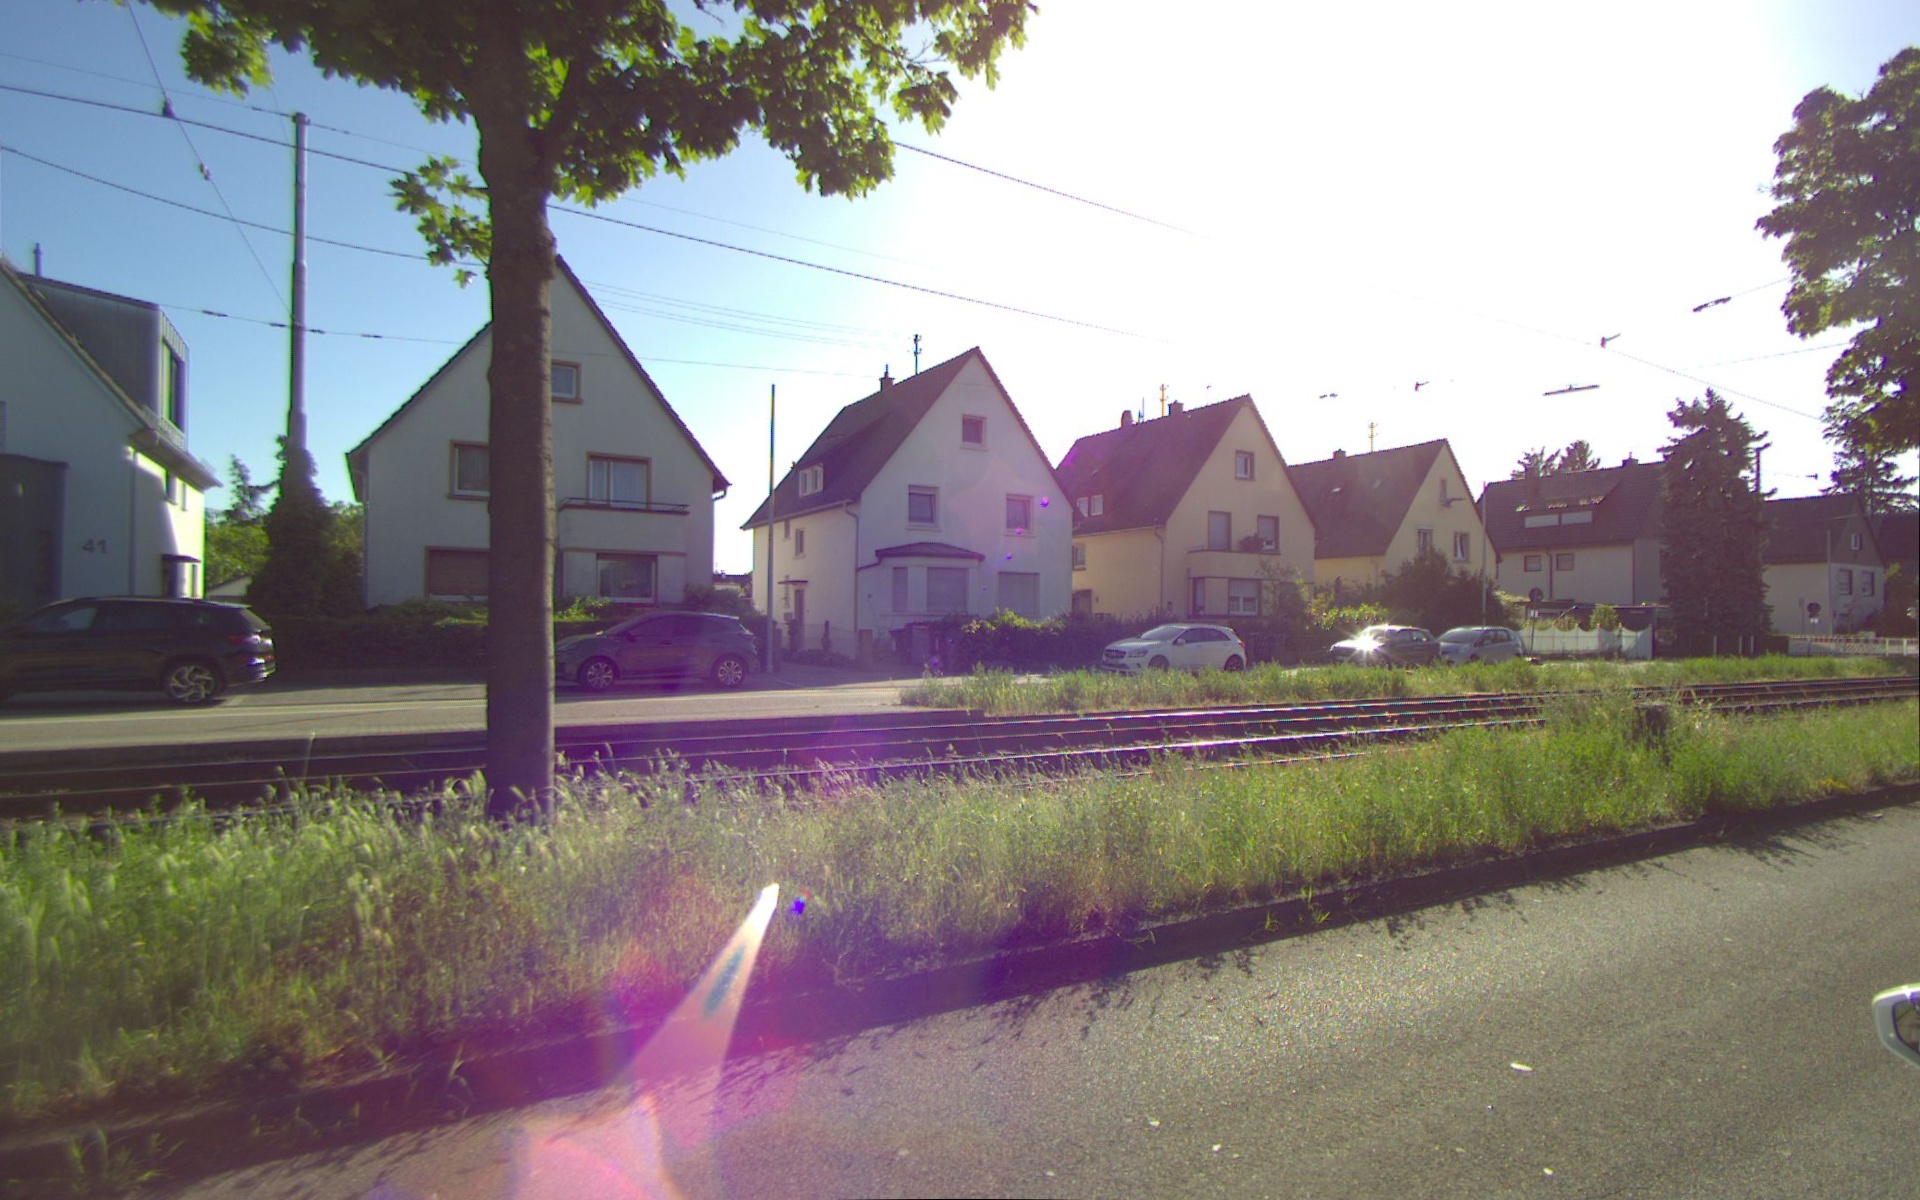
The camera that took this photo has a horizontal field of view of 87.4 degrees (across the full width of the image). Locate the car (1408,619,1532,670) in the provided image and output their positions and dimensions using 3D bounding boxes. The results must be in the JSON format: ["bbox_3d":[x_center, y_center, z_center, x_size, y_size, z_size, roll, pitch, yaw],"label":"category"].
[{"bbox_3d":[17.480,1.505,34.371,4.010,1.574,1.937,2,0,-31],"label":"car"}]

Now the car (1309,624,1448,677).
[{"bbox_3d":[13.283,1.577,31.842,4.080,1.469,1.983,2,2,-31],"label":"car"}]

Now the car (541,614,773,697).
[{"bbox_3d":[-6.184,1.094,20.600,4.207,1.515,1.916,2,0,-31],"label":"car"}]

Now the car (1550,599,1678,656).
[{"bbox_3d":[32.481,1.341,50.055,2.077,2.660,5.005,0,-1,-30],"label":"car"}]

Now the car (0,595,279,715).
[{"bbox_3d":[-13.659,0.835,16.124,4.340,1.736,1.984,2,0,-31],"label":"car"}]

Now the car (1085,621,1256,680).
[{"bbox_3d":[5.789,1.368,27.538,4.356,1.445,1.985,2,0,-29],"label":"car"}]
